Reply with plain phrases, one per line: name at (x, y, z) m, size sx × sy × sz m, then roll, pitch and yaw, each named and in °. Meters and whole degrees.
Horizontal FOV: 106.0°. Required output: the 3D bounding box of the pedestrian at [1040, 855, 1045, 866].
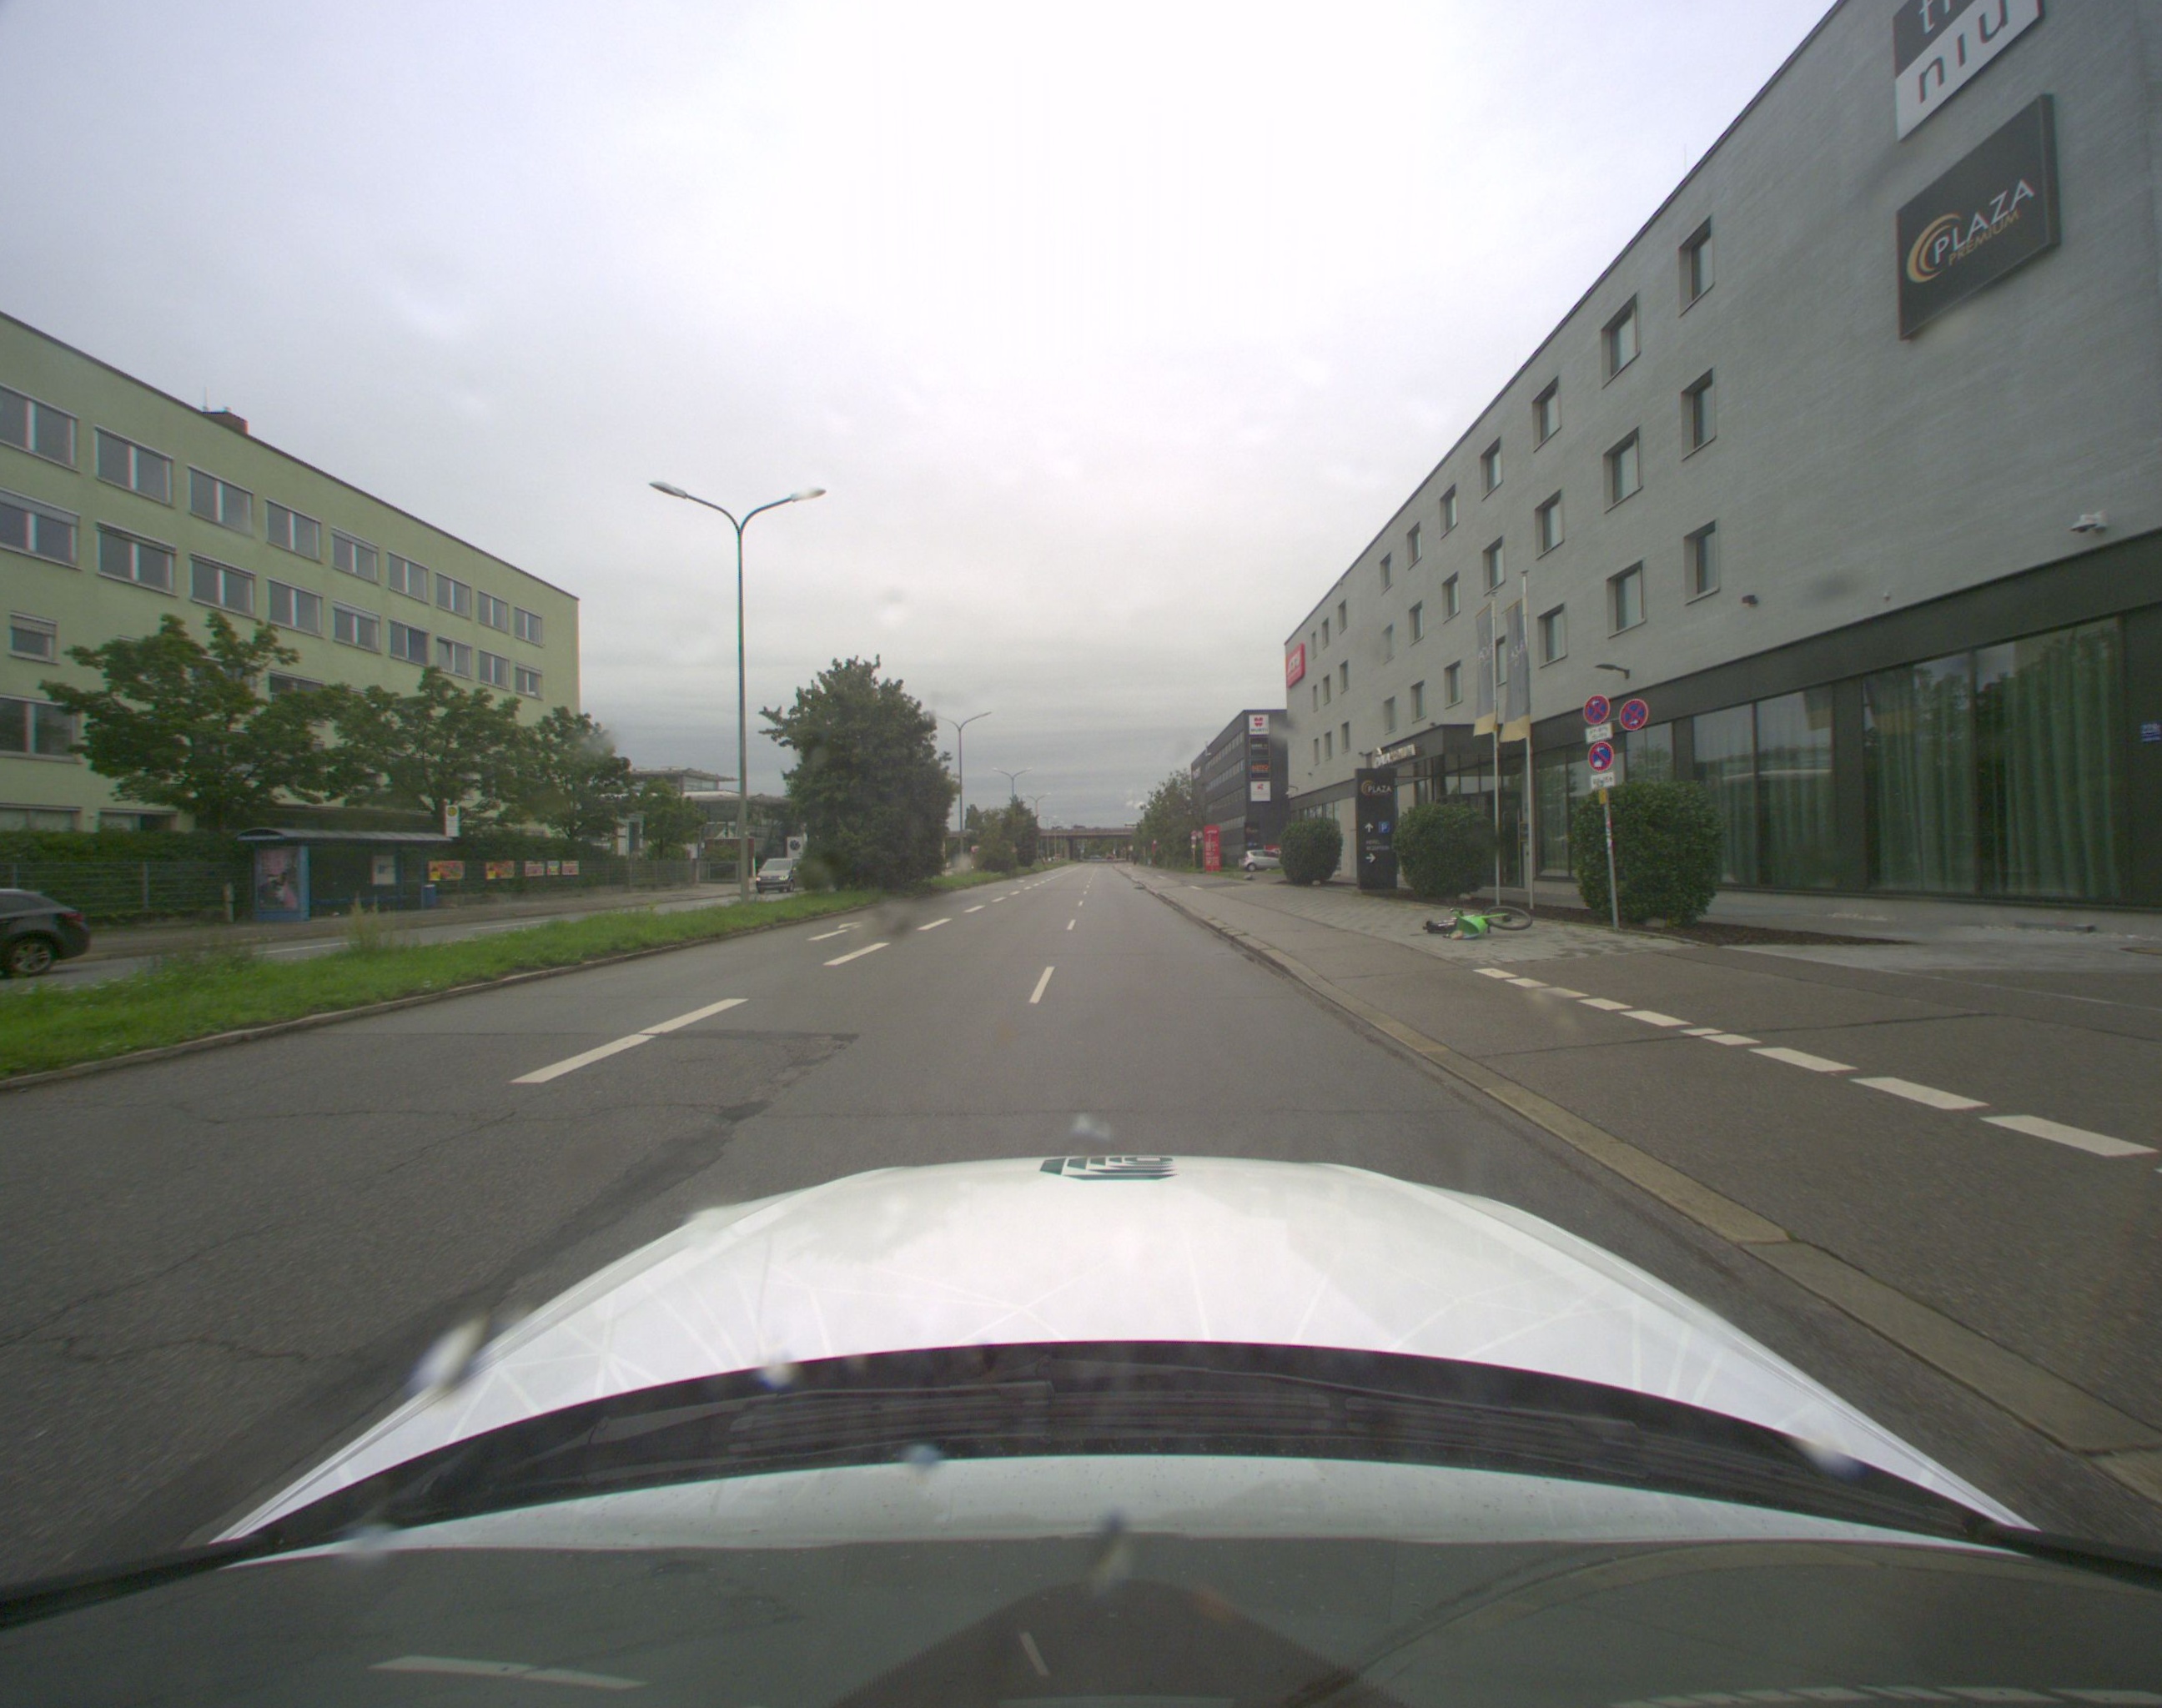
pedestrian at (-5.817, 0.959, 123.399) m, size 0.656 × 1.617 × 0.692 m, roll -3°, pitch -1°, yaw 6°

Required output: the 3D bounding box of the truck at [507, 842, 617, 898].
truck at (-27.839, 0.824, 43.934) m, size 1.983 × 2.748 × 5.314 m, roll -3°, pitch 0°, yaw 7°

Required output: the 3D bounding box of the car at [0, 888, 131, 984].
car at (-17.451, 1.318, 11.732) m, size 1.987 × 1.401 × 4.654 m, roll -3°, pitch 0°, yaw 0°

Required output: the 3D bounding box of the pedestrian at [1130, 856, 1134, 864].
pedestrian at (10.612, 1.211, 170.434) m, size 0.686 × 1.617 × 0.662 m, roll -3°, pitch -1°, yaw 0°

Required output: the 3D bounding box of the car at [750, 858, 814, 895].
car at (-17.004, 1.239, 46.574) m, size 1.987 × 1.961 × 4.324 m, roll -3°, pitch 0°, yaw 0°

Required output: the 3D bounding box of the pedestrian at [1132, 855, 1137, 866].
pedestrian at (9.471, 1.195, 143.606) m, size 0.686 × 1.876 × 0.662 m, roll -3°, pitch -1°, yaw 0°

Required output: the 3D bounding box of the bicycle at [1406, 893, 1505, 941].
bicycle at (5.733, 0.947, 12.573) m, size 0.717 × 0.548 × 1.732 m, roll -5°, pitch 0°, yaw 1°

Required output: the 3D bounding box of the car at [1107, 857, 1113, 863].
car at (8.932, 1.864, 249.118) m, size 1.805 × 2.013 × 3.836 m, roll 0°, pitch 0°, yaw 3°

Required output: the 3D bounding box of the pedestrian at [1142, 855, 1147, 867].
pedestrian at (10.343, 1.155, 133.535) m, size 0.686 × 1.876 × 0.662 m, roll -3°, pitch -1°, yaw 0°

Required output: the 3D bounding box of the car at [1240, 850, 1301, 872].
car at (13.584, 0.509, 58.523) m, size 3.998 × 1.557 × 1.821 m, roll 0°, pitch 0°, yaw 2°
